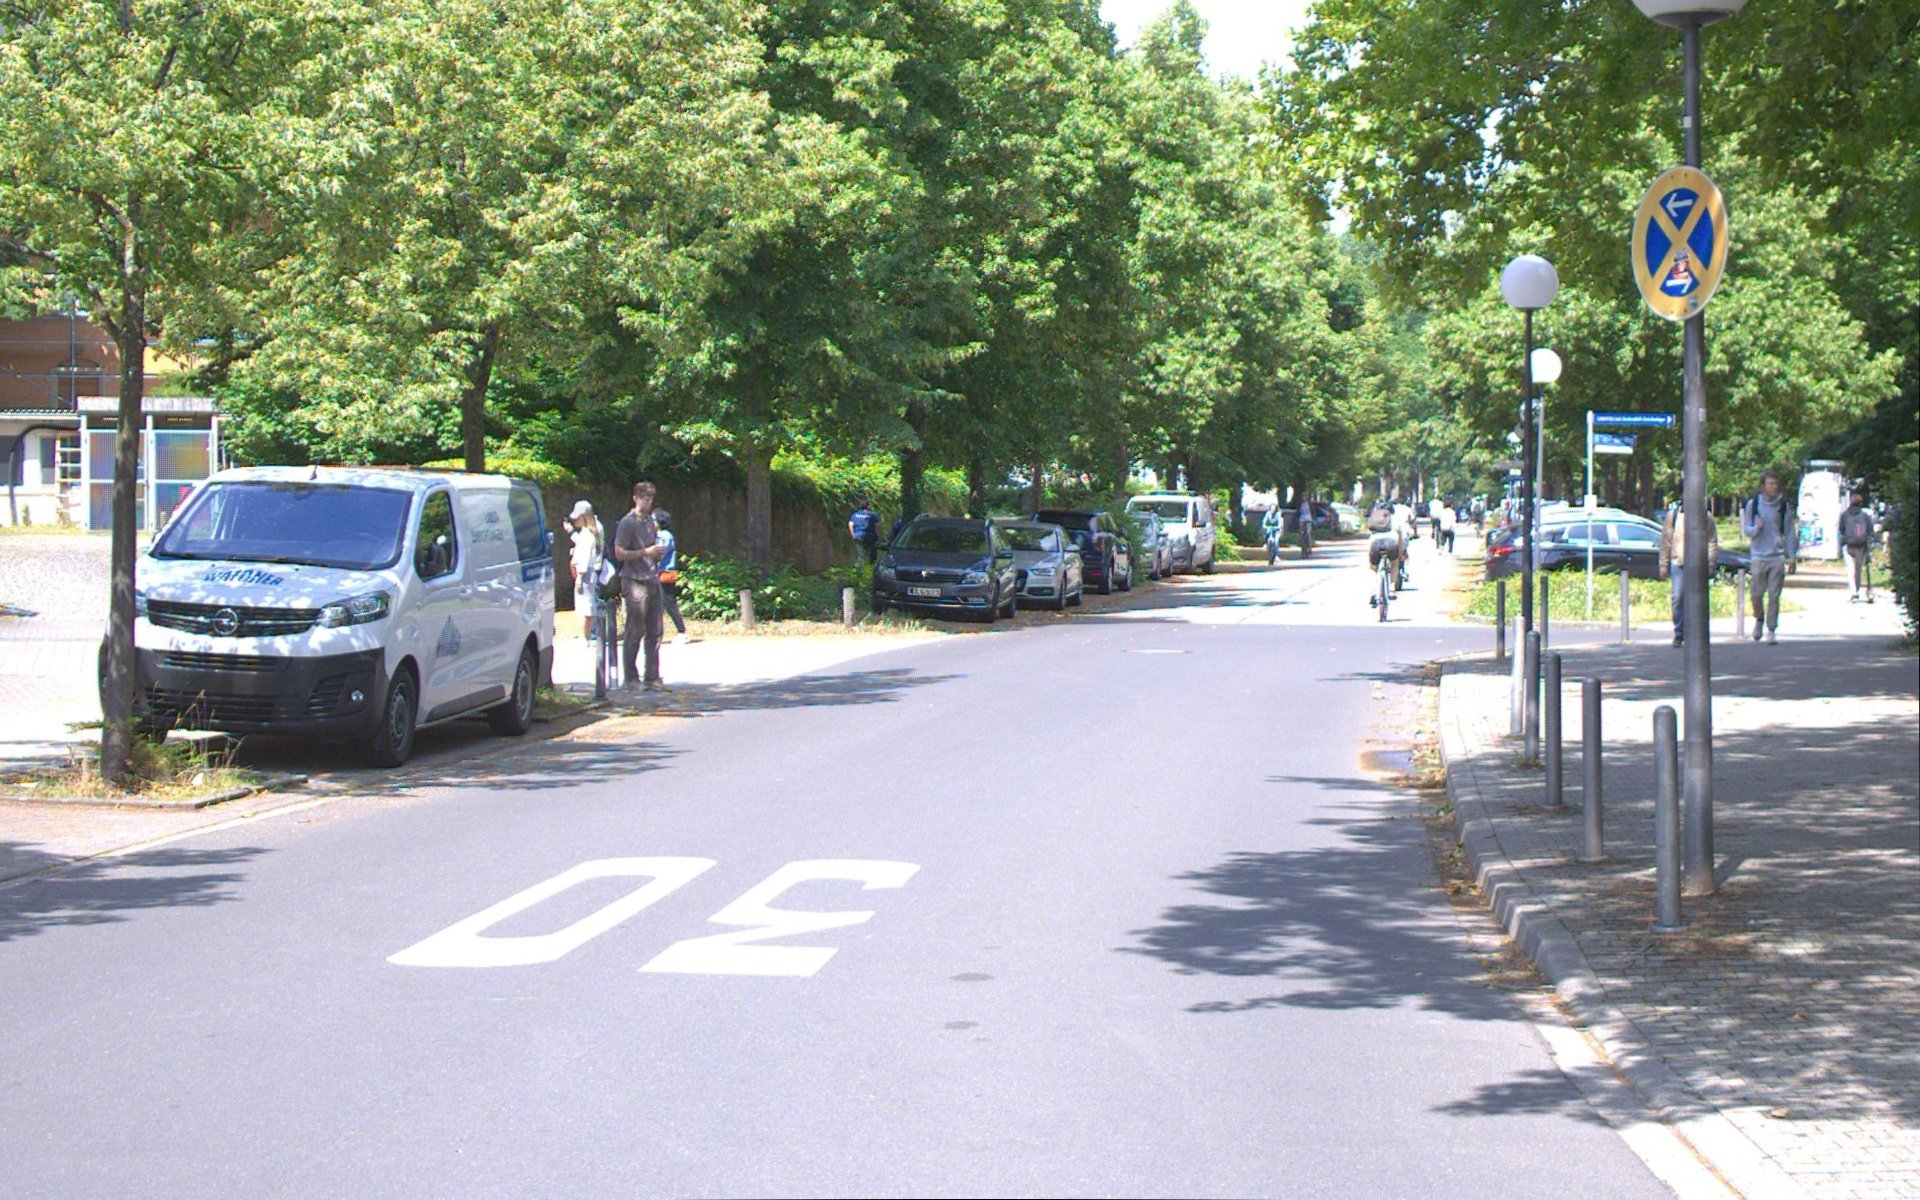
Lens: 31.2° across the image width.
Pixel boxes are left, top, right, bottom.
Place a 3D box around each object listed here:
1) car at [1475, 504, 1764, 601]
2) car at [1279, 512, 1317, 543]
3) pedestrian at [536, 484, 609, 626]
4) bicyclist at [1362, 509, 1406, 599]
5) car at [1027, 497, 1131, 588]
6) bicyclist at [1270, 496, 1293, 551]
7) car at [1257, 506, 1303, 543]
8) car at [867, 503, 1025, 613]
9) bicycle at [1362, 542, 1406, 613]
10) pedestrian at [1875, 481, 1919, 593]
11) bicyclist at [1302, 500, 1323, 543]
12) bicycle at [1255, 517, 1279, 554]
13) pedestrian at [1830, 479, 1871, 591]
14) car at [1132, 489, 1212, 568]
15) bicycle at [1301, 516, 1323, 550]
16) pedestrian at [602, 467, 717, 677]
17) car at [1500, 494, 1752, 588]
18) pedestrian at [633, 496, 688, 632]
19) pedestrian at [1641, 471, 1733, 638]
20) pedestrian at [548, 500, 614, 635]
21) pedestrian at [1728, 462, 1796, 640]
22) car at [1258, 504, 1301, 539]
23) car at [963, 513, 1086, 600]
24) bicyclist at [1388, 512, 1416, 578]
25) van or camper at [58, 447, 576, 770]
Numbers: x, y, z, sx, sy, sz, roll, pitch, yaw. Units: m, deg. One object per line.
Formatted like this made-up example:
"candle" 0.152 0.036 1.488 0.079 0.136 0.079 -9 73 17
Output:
"car" 10.576 -0.771 55.377 4.487 1.520 1.810 0 1 9
"car" 14.936 -3.217 151.974 1.616 1.360 3.999 1 2 6
"pedestrian" -4.567 -0.537 40.509 0.627 1.657 0.603 -1 2 -41
"bicyclist" 6.131 -0.665 49.677 0.609 1.291 0.610 1 1 8
"car" 2.314 -1.133 66.204 1.616 1.673 3.999 1 2 7
"bicyclist" 8.751 -2.091 93.617 0.563 1.493 0.827 1 1 7
"car" 12.029 -2.841 129.061 1.616 1.360 3.999 1 2 6
"car" -0.163 -0.648 50.079 1.760 1.516 4.110 1 2 7
"bicycle" 6.139 -0.337 49.765 0.614 0.997 1.423 1 2 7
"pedestrian" 14.831 -0.999 54.044 0.821 1.749 0.628 1 1 14
"bicyclist" 10.637 -2.367 103.723 0.608 1.291 0.610 1 1 8
"bicycle" 8.372 -1.768 93.627 0.578 0.997 1.423 1 2 7
"pedestrian" 14.093 -1.036 54.428 0.602 1.749 0.628 1 1 15
"car" 5.037 -1.699 81.269 1.616 1.809 3.999 1 2 7
"bicycle" 10.627 -2.018 103.670 0.614 0.997 1.423 1 2 7
"pedestrian" -2.699 -0.263 30.946 0.725 1.850 0.790 1 2 25
"car" 11.614 -1.034 60.173 4.258 1.582 1.810 0 1 9
"pedestrian" -3.509 -0.427 40.303 0.494 1.580 0.494 0 2 -26
"pedestrian" 7.726 -0.495 36.540 0.822 1.749 0.840 1 2 21
"pedestrian" -4.332 -0.374 39.248 0.584 1.521 0.494 0 2 -33
"pedestrian" 8.531 -0.526 36.570 0.672 1.866 0.791 1 2 14
"car" 12.943 -3.181 139.041 1.616 1.360 4.561 1 2 6
"car" 1.106 -0.760 57.609 1.616 1.383 3.999 1 2 7
"bicyclist" 8.669 -1.086 67.381 0.522 1.291 0.610 1 1 7
"van or camper" -4.242 -0.027 23.713 1.954 1.916 5.419 2 2 7
